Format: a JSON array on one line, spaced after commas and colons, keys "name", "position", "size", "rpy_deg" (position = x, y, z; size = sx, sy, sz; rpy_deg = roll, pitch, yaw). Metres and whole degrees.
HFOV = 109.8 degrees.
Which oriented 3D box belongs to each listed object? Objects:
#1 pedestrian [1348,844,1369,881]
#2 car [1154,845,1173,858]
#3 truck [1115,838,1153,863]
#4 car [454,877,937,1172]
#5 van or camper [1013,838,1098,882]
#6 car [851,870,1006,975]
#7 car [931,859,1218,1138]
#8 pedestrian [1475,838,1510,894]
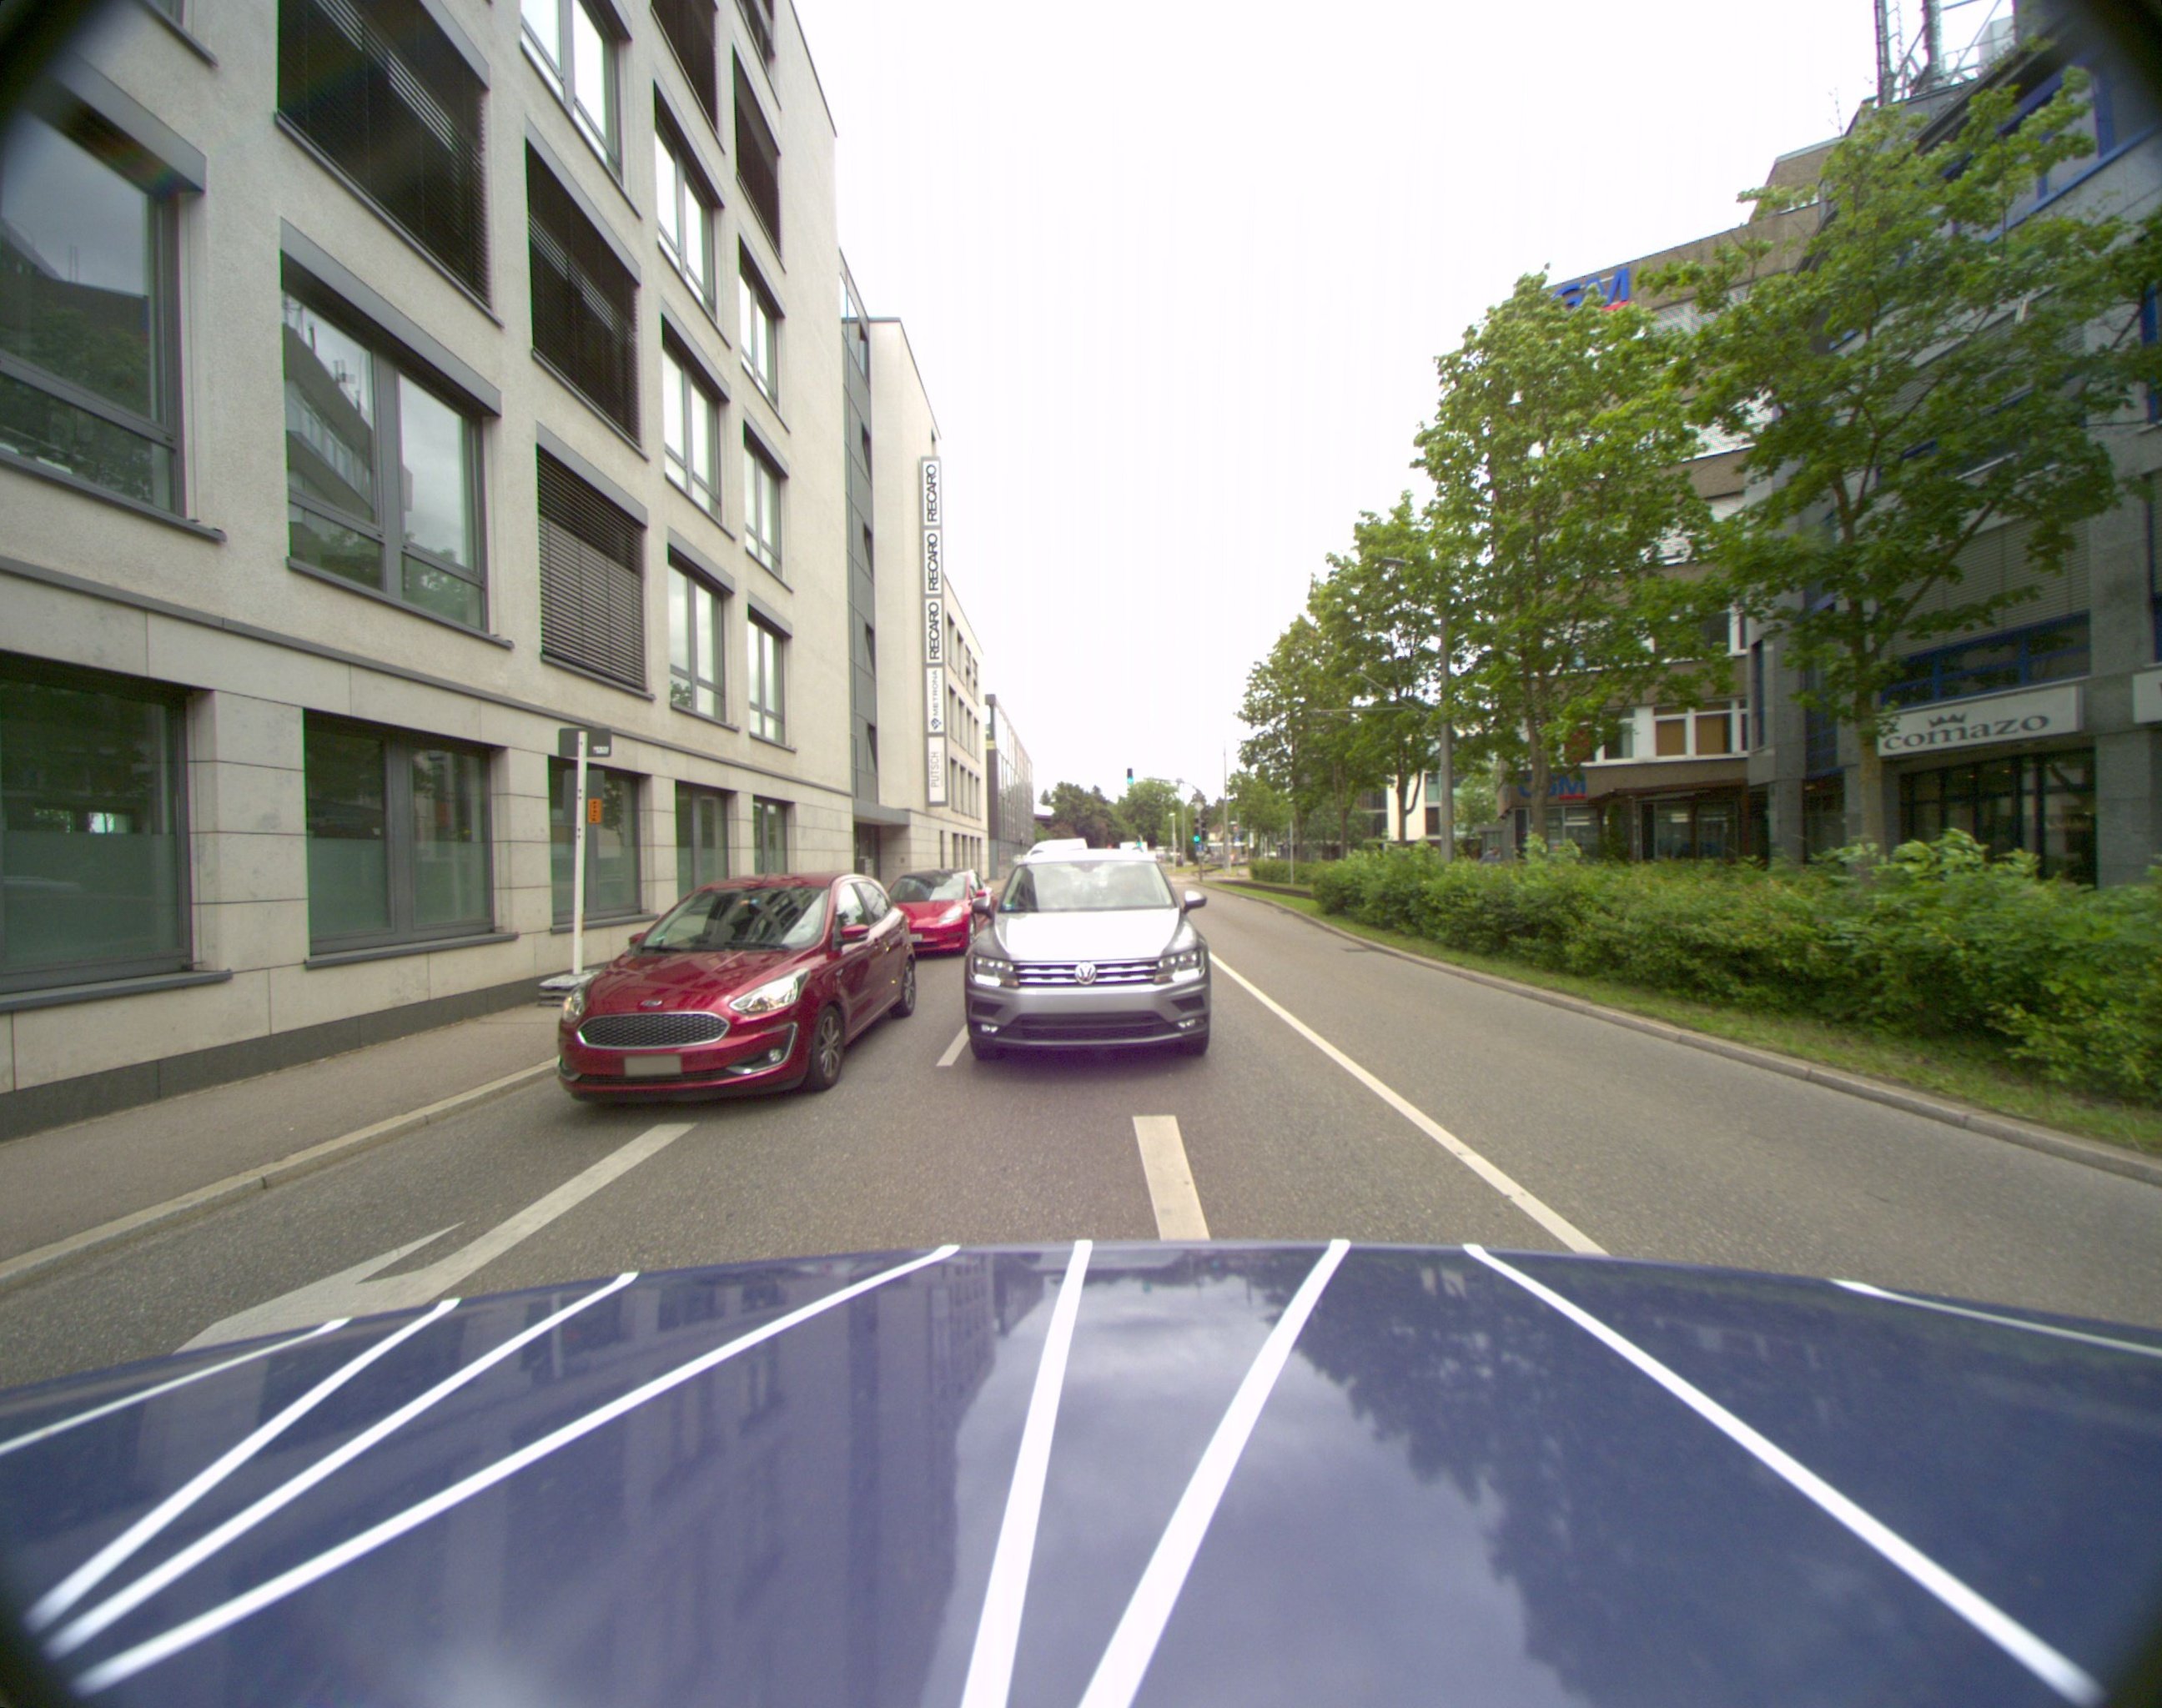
[{"name": "pedestrian", "position": [14.615, 0.445, 40.052], "size": [0.816, 1.912, 0.731], "rpy_deg": [-2, 1, 0]}, {"name": "car", "position": [13.933, -0.377, 127.975], "size": [1.995, 2.002, 4.006], "rpy_deg": [-1, 1, 24]}, {"name": "truck", "position": [8.174, -0.626, 116.703], "size": [2.317, 3.626, 8.024], "rpy_deg": [-1, 1, 31]}, {"name": "car", "position": [-2.597, 1.046, 6.374], "size": [1.890, 1.483, 4.000], "rpy_deg": [-4, 0, 1]}, {"name": "van or camper", "position": [-1.648, 0.340, 51.652], "size": [2.108, 2.718, 6.163], "rpy_deg": [-1, 1, 41]}, {"name": "car", "position": [-2.582, 1.104, 13.962], "size": [1.825, 1.449, 4.408], "rpy_deg": [-3, 0, 1]}, {"name": "car", "position": [-0.008, 0.943, 7.094], "size": [1.798, 1.716, 4.458], "rpy_deg": [-1, 0, 1]}, {"name": "pedestrian", "position": [13.410, 0.386, 24.781], "size": [0.680, 1.795, 0.731], "rpy_deg": [-2, 1, -4]}]
